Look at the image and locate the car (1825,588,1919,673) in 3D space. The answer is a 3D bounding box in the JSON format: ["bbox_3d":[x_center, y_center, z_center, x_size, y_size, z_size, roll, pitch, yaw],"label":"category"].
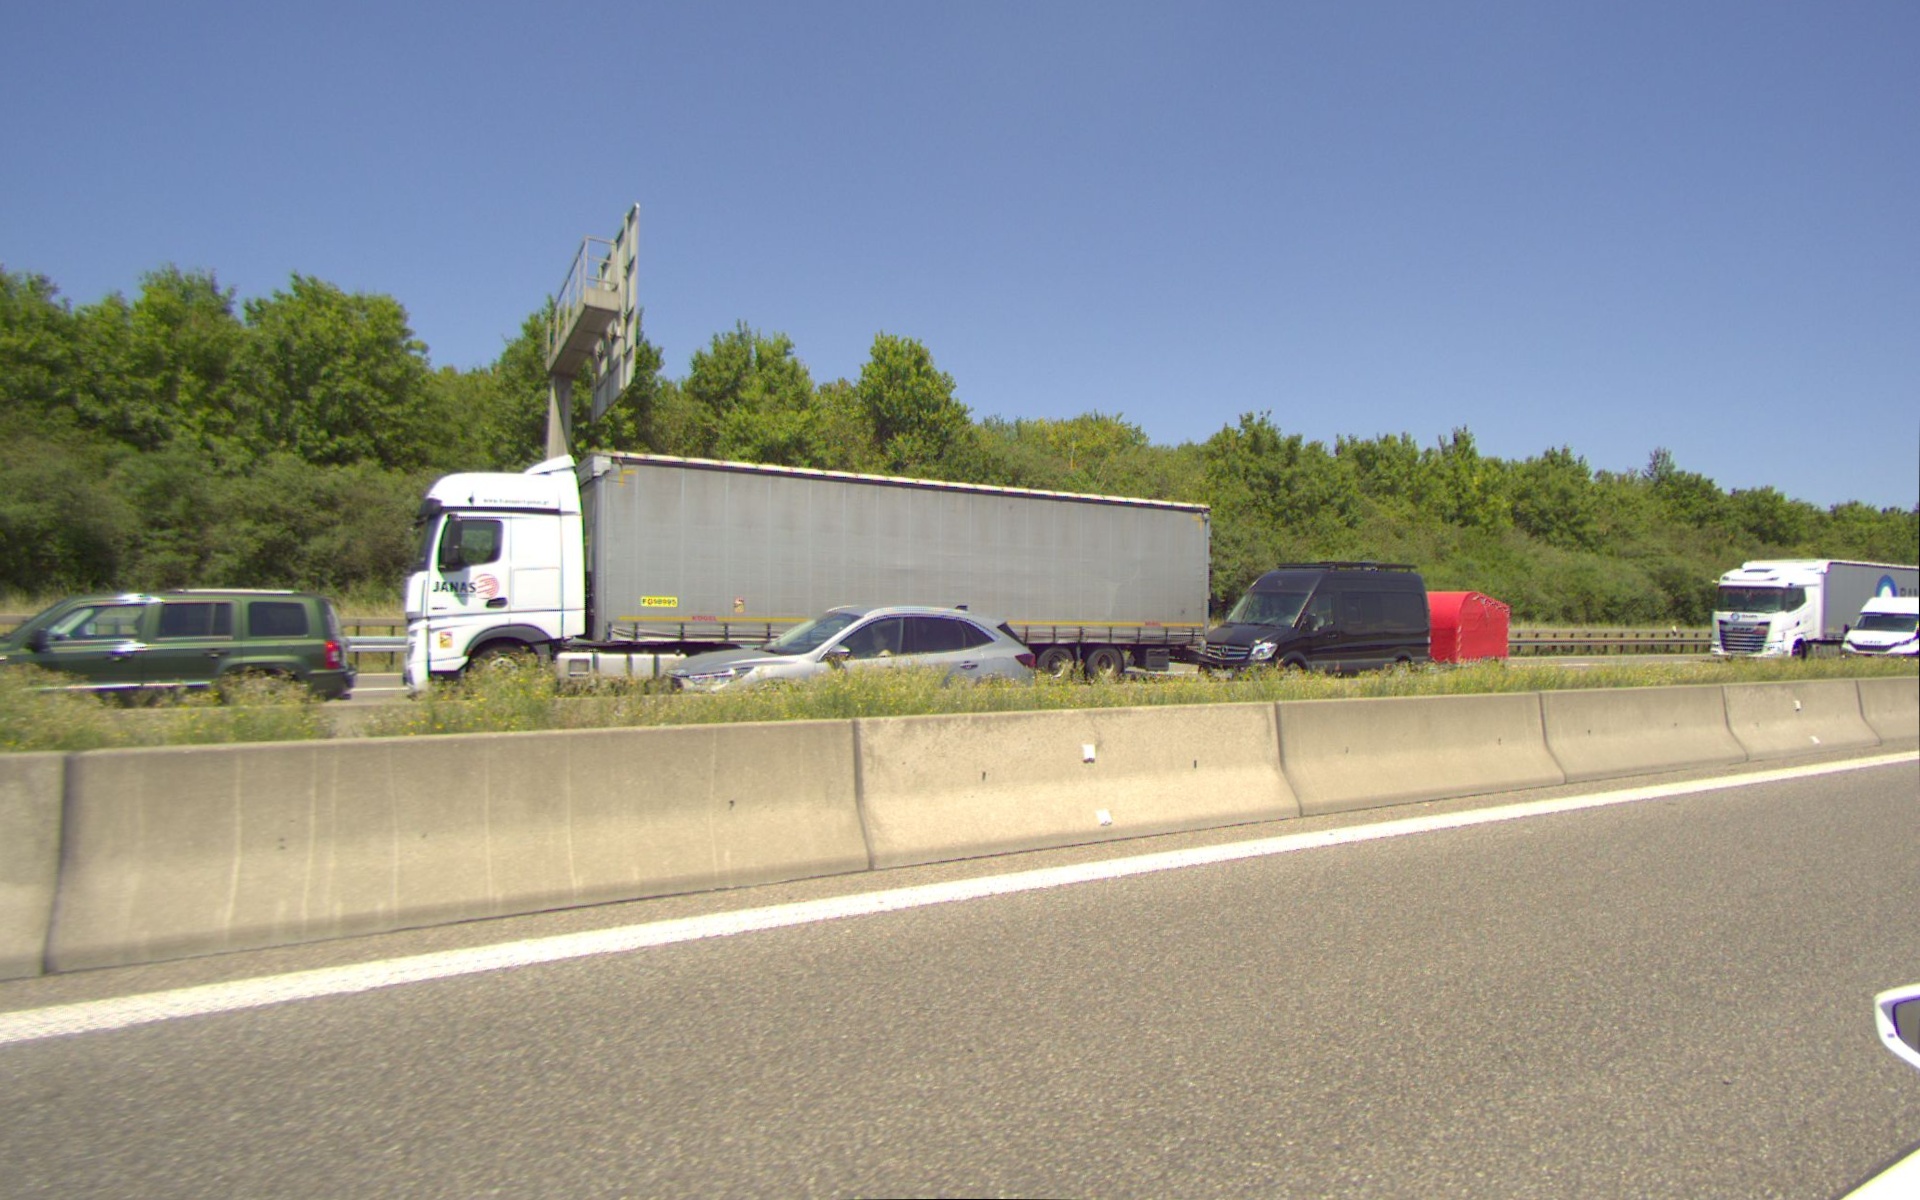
[{"bbox_3d":[33.989,1.146,36.218,6.546,2.823,2.129,3,-1,-30],"label":"car"}]

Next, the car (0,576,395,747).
[{"bbox_3d":[-9.308,0.661,11.681,4.736,1.738,1.984,2,-1,-31],"label":"car"}]

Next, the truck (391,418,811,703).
[{"bbox_3d":[-6.302,-0.513,17.932,6.523,4.266,2.949,2,0,-29],"label":"truck"}]

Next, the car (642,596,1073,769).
[{"bbox_3d":[-1.135,0.879,11.949,4.740,1.710,1.923,1,-1,-30],"label":"car"}]

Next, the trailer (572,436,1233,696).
[{"bbox_3d":[-0.508,-0.372,21.202,14.022,4.262,2.968,2,0,-29],"label":"trailer"}]

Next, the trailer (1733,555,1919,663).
[{"bbox_3d":[38.714,0.468,43.348,14.263,4.140,2.891,1,-1,-28],"label":"trailer"}]

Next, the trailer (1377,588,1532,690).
[{"bbox_3d":[11.995,0.910,24.301,3.918,2.283,1.561,1,-1,-32],"label":"trailer"}]

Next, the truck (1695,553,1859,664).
[{"bbox_3d":[32.500,0.377,39.939,6.523,4.090,2.841,1,-1,-29],"label":"truck"}]

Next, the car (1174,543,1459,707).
[{"bbox_3d":[7.711,0.530,21.436,6.478,3.054,2.225,1,-1,-32],"label":"car"}]
